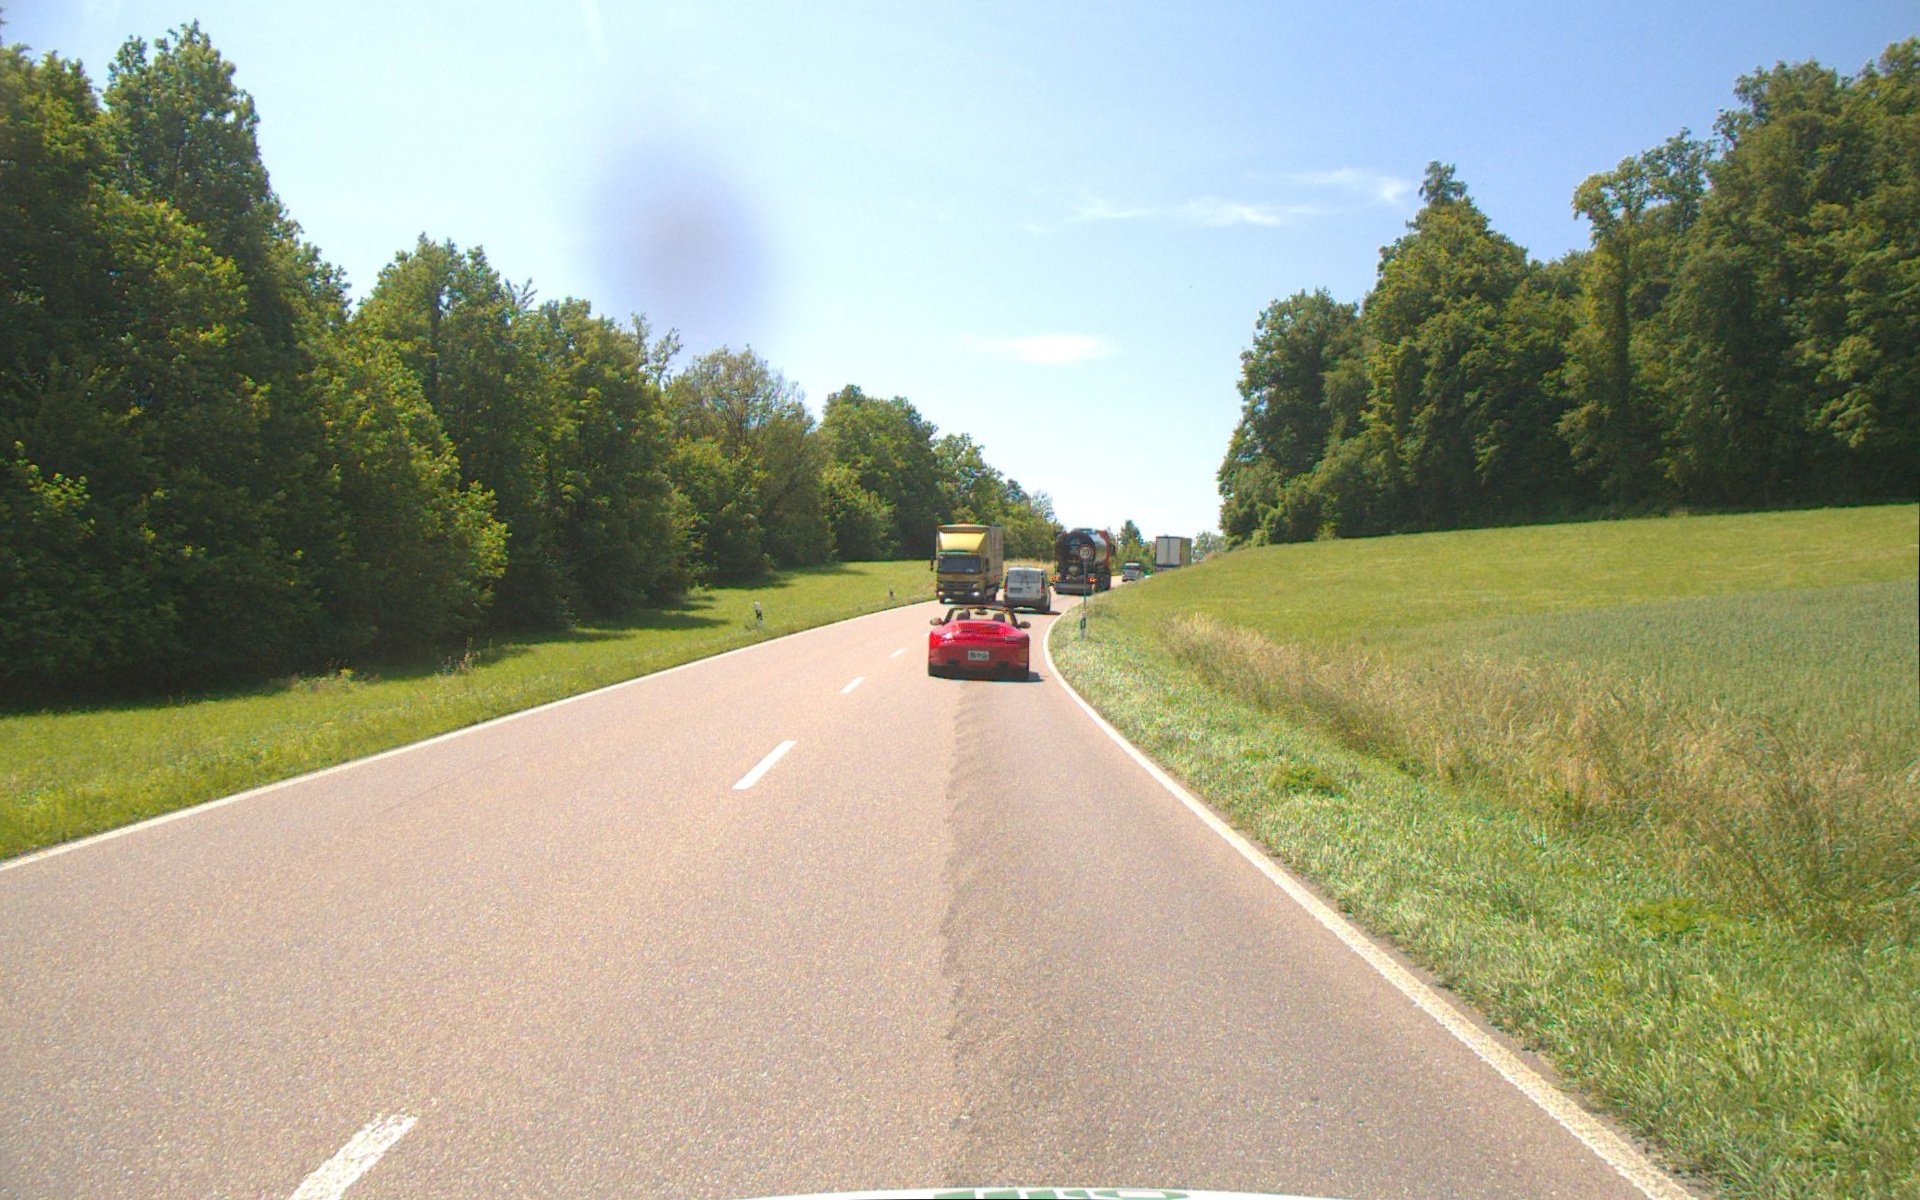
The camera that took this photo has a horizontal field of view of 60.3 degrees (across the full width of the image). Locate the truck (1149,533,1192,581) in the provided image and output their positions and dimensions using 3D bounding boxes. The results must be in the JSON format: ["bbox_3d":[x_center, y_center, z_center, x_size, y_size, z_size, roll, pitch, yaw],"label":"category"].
[{"bbox_3d":[21.642,-4.445,169.649,3.646,4.741,12.043,1,2,11],"label":"truck"}]

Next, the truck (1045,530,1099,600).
[{"bbox_3d":[7.138,-2.241,104.165,2.352,4.120,12.562,0,1,9],"label":"truck"}]

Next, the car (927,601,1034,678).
[{"bbox_3d":[0.359,0.693,30.768,1.844,1.277,4.009,1,0,0],"label":"car"}]

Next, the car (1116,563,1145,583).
[{"bbox_3d":[14.185,-2.254,137.480,1.792,1.540,4.194,1,2,14],"label":"car"}]

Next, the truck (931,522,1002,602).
[{"bbox_3d":[0.412,-1.848,82.641,2.672,3.755,8.552,1,1,6],"label":"truck"}]

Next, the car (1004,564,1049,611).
[{"bbox_3d":[2.959,-0.560,72.630,1.643,1.933,4.013,1,2,7],"label":"car"}]
